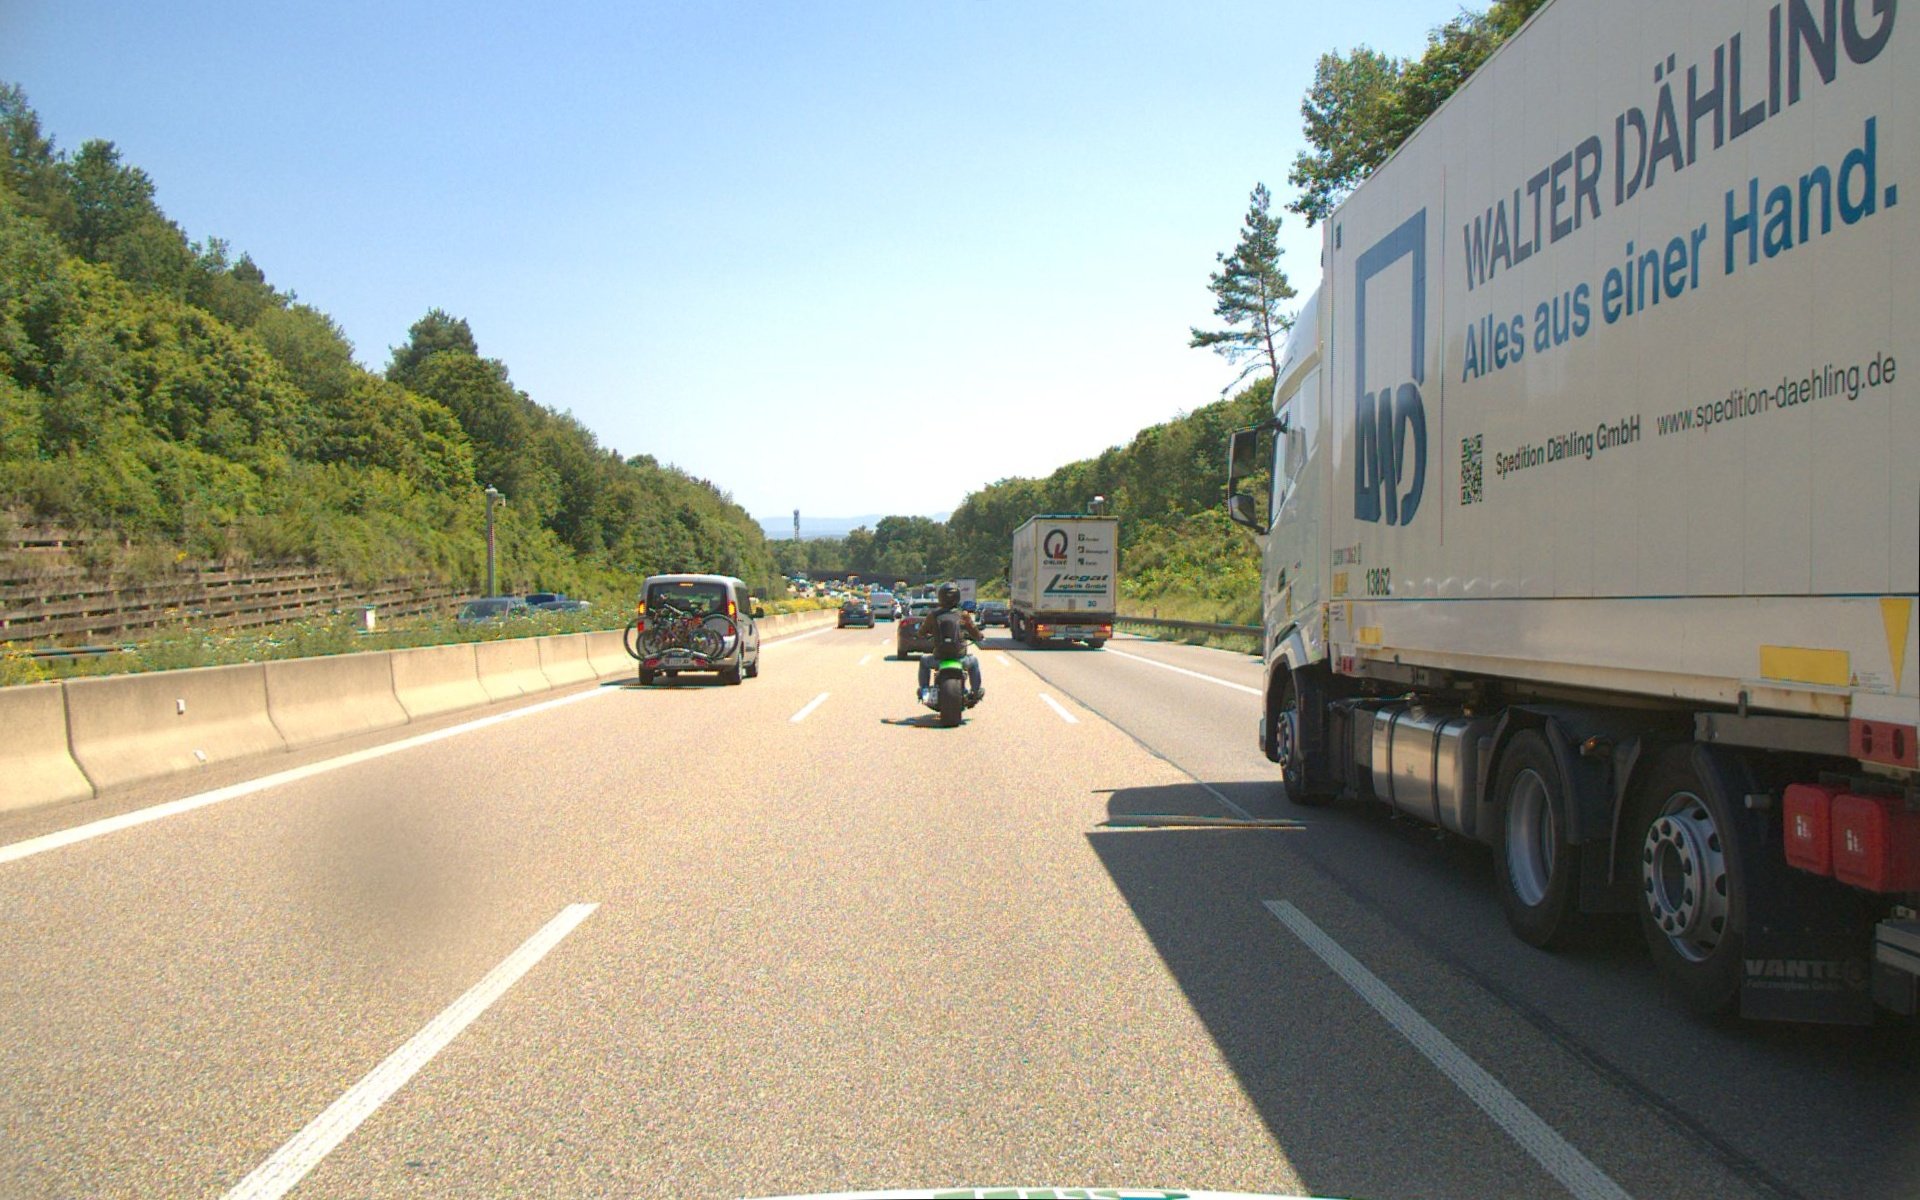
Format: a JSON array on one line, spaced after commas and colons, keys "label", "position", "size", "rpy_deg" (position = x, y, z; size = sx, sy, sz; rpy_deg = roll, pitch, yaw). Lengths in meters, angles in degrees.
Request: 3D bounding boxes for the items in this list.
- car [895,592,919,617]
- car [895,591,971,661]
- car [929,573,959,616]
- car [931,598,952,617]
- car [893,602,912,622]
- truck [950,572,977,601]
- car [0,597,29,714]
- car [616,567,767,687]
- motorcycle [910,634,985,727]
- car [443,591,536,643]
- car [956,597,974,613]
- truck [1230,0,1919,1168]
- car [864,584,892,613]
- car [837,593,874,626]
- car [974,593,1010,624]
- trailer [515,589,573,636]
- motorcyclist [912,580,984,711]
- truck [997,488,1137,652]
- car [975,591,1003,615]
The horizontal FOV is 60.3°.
[{"label": "car", "position": [-4.094, 0.337, 128.574], "size": [1.794, 1.842, 4.119], "rpy_deg": [1, 1, -1]}, {"label": "car", "position": [-0.709, 0.625, 42.087], "size": [1.808, 1.584, 4.438], "rpy_deg": [1, 1, -1]}, {"label": "car", "position": [-1.008, -0.395, 101.866], "size": [1.794, 2.533, 4.643], "rpy_deg": [1, 1, -1]}, {"label": "car", "position": [-1.666, 0.634, 145.183], "size": [1.794, 1.585, 4.119], "rpy_deg": [1, 1, -1]}, {"label": "car", "position": [-5.632, 1.158, 162.434], "size": [1.794, 1.842, 4.119], "rpy_deg": [1, 1, -1]}, {"label": "truck", "position": [0.365, -1.664, 203.747], "size": [3.005, 3.404, 9.650], "rpy_deg": [2, 1, -1]}, {"label": "car", "position": [-14.439, 0.818, 21.436], "size": [1.854, 1.635, 5.077], "rpy_deg": [0, 1, 0]}, {"label": "car", "position": [-4.583, 0.411, 29.056], "size": [1.860, 1.880, 5.482], "rpy_deg": [1, 0, -1]}, {"label": "motorcycle", "position": [-0.144, 0.941, 19.970], "size": [0.844, 0.999, 2.130], "rpy_deg": [0, 0, 0]}, {"label": "car", "position": [-14.892, 0.500, 52.557], "size": [1.751, 1.548, 4.203], "rpy_deg": [-1, 0, 0]}, {"label": "car", "position": [0.564, 0.541, 179.857], "size": [1.794, 1.585, 4.119], "rpy_deg": [1, 1, -1]}, {"label": "truck", "position": [3.753, -0.639, 8.807], "size": [2.626, 4.130, 10.624], "rpy_deg": [1, 1, -1]}, {"label": "car", "position": [-5.476, -0.115, 110.721], "size": [1.794, 1.842, 4.119], "rpy_deg": [1, 1, -1]}, {"label": "car", "position": [-5.330, 0.456, 85.015], "size": [1.722, 1.570, 4.394], "rpy_deg": [1, 1, -1]}, {"label": "car", "position": [1.775, 0.466, 92.434], "size": [1.794, 1.585, 4.119], "rpy_deg": [1, 1, -1]}, {"label": "trailer", "position": [-19.794, 0.576, 78.833], "size": [1.857, 2.154, 3.495], "rpy_deg": [-1, 0, 0]}, {"label": "motorcyclist", "position": [-0.143, 0.531, 19.857], "size": [0.838, 1.541, 0.914], "rpy_deg": [0, 0, 0]}, {"label": "truck", "position": [3.390, -1.048, 58.149], "size": [3.315, 4.800, 17.706], "rpy_deg": [2, 1, -1]}, {"label": "car", "position": [2.043, 0.215, 117.534], "size": [1.794, 1.585, 4.119], "rpy_deg": [1, 1, -1]}]
